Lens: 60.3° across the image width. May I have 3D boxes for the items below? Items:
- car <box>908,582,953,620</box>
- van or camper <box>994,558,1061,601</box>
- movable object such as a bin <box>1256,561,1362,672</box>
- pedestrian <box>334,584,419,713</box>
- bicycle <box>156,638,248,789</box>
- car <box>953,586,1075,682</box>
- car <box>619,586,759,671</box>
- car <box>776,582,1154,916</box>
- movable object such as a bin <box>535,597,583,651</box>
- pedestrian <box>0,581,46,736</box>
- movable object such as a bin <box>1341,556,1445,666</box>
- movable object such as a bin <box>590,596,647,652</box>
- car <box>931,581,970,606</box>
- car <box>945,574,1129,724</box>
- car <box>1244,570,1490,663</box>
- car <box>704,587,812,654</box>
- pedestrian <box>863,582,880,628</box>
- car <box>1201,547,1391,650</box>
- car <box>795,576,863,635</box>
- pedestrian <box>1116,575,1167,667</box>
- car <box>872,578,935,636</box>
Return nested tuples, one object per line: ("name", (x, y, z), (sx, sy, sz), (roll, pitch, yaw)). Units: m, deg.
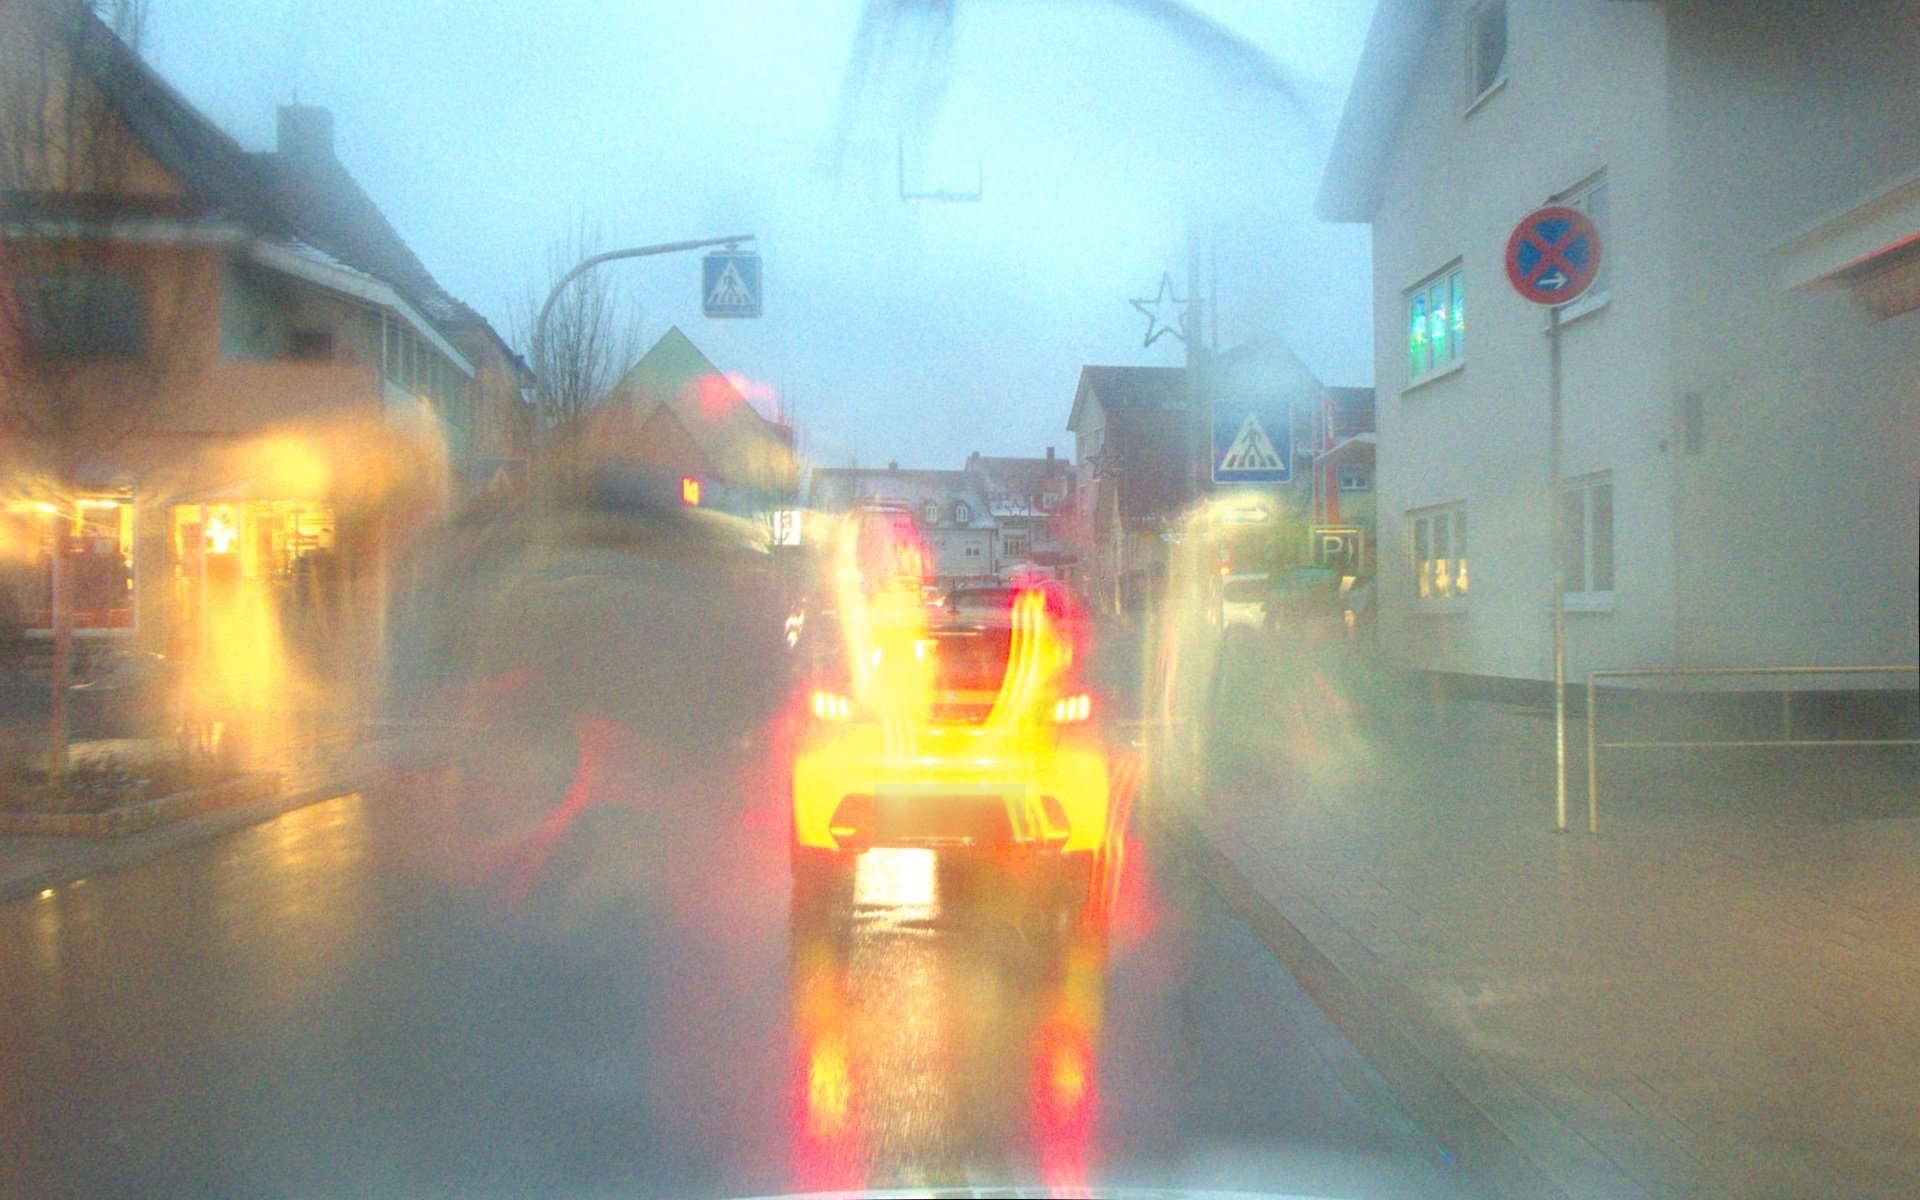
("car", (-1.434, 0.020, 77.918), (1.913, 1.574, 4.414), (2, 2, -3))
("van or camper", (5.122, -1.553, 126.952), (2.614, 3.100, 6.692), (-4, 1, -21))
("movable object such as a bin", (5.587, 0.250, 26.561), (1.365, 1.672, 1.261), (-2, 0, -1))
("pedestrian", (-7.917, 0.642, 22.490), (0.810, 1.687, 1.096), (1, 0, -6))
("bicycle", (-6.382, 0.920, 13.977), (0.319, 1.079, 1.738), (-5, 3, -15))
("car", (0.919, 0.574, 30.271), (1.953, 1.616, 3.999), (1, 0, -2))
("car", (-5.444, 0.529, 33.834), (1.952, 1.585, 4.622), (1, 0, 2))
("car", (0.029, 0.704, 9.860), (1.777, 1.560, 4.000), (1, 0, 0))
("movable object such as a bin", (-10.399, 0.626, 42.937), (1.129, 1.378, 0.850), (0, 0, -9))
("pedestrian", (-12.781, 0.769, 22.217), (0.729, 2.049, 0.815), (1, 0, -38))
("movable object such as a bin", (6.921, 0.168, 26.508), (1.259, 1.672, 1.185), (-3, 0, -2))
("movable object such as a bin", (-8.895, 0.621, 43.113), (1.315, 1.377, 0.887), (-3, 0, -8))
("car", (-0.744, -0.511, 125.915), (1.961, 1.795, 4.333), (-2, 1, -15))
("car", (0.850, 0.549, 20.537), (1.952, 1.653, 3.999), (1, 0, -2))
("car", (7.069, 0.296, 29.043), (3.903, 1.512, 1.913), (-1, -1, 4))
("car", (-4.942, 0.472, 41.114), (1.952, 1.549, 4.979), (0, 0, 2))
("pedestrian", (-3.096, 0.170, 57.872), (0.562, 1.613, 0.530), (0, 1, 0))
("car", (7.482, -0.036, 37.099), (4.003, 2.085, 2.002), (-2, 0, 10))
("car", (-4.247, 0.137, 54.290), (2.044, 1.823, 5.021), (0, 1, -3))
("pedestrian", (3.901, 0.444, 35.629), (0.947, 1.922, 1.006), (1, 0, -1))
("car", (-1.866, 0.208, 56.029), (1.953, 1.735, 4.967), (2, 2, -1))
